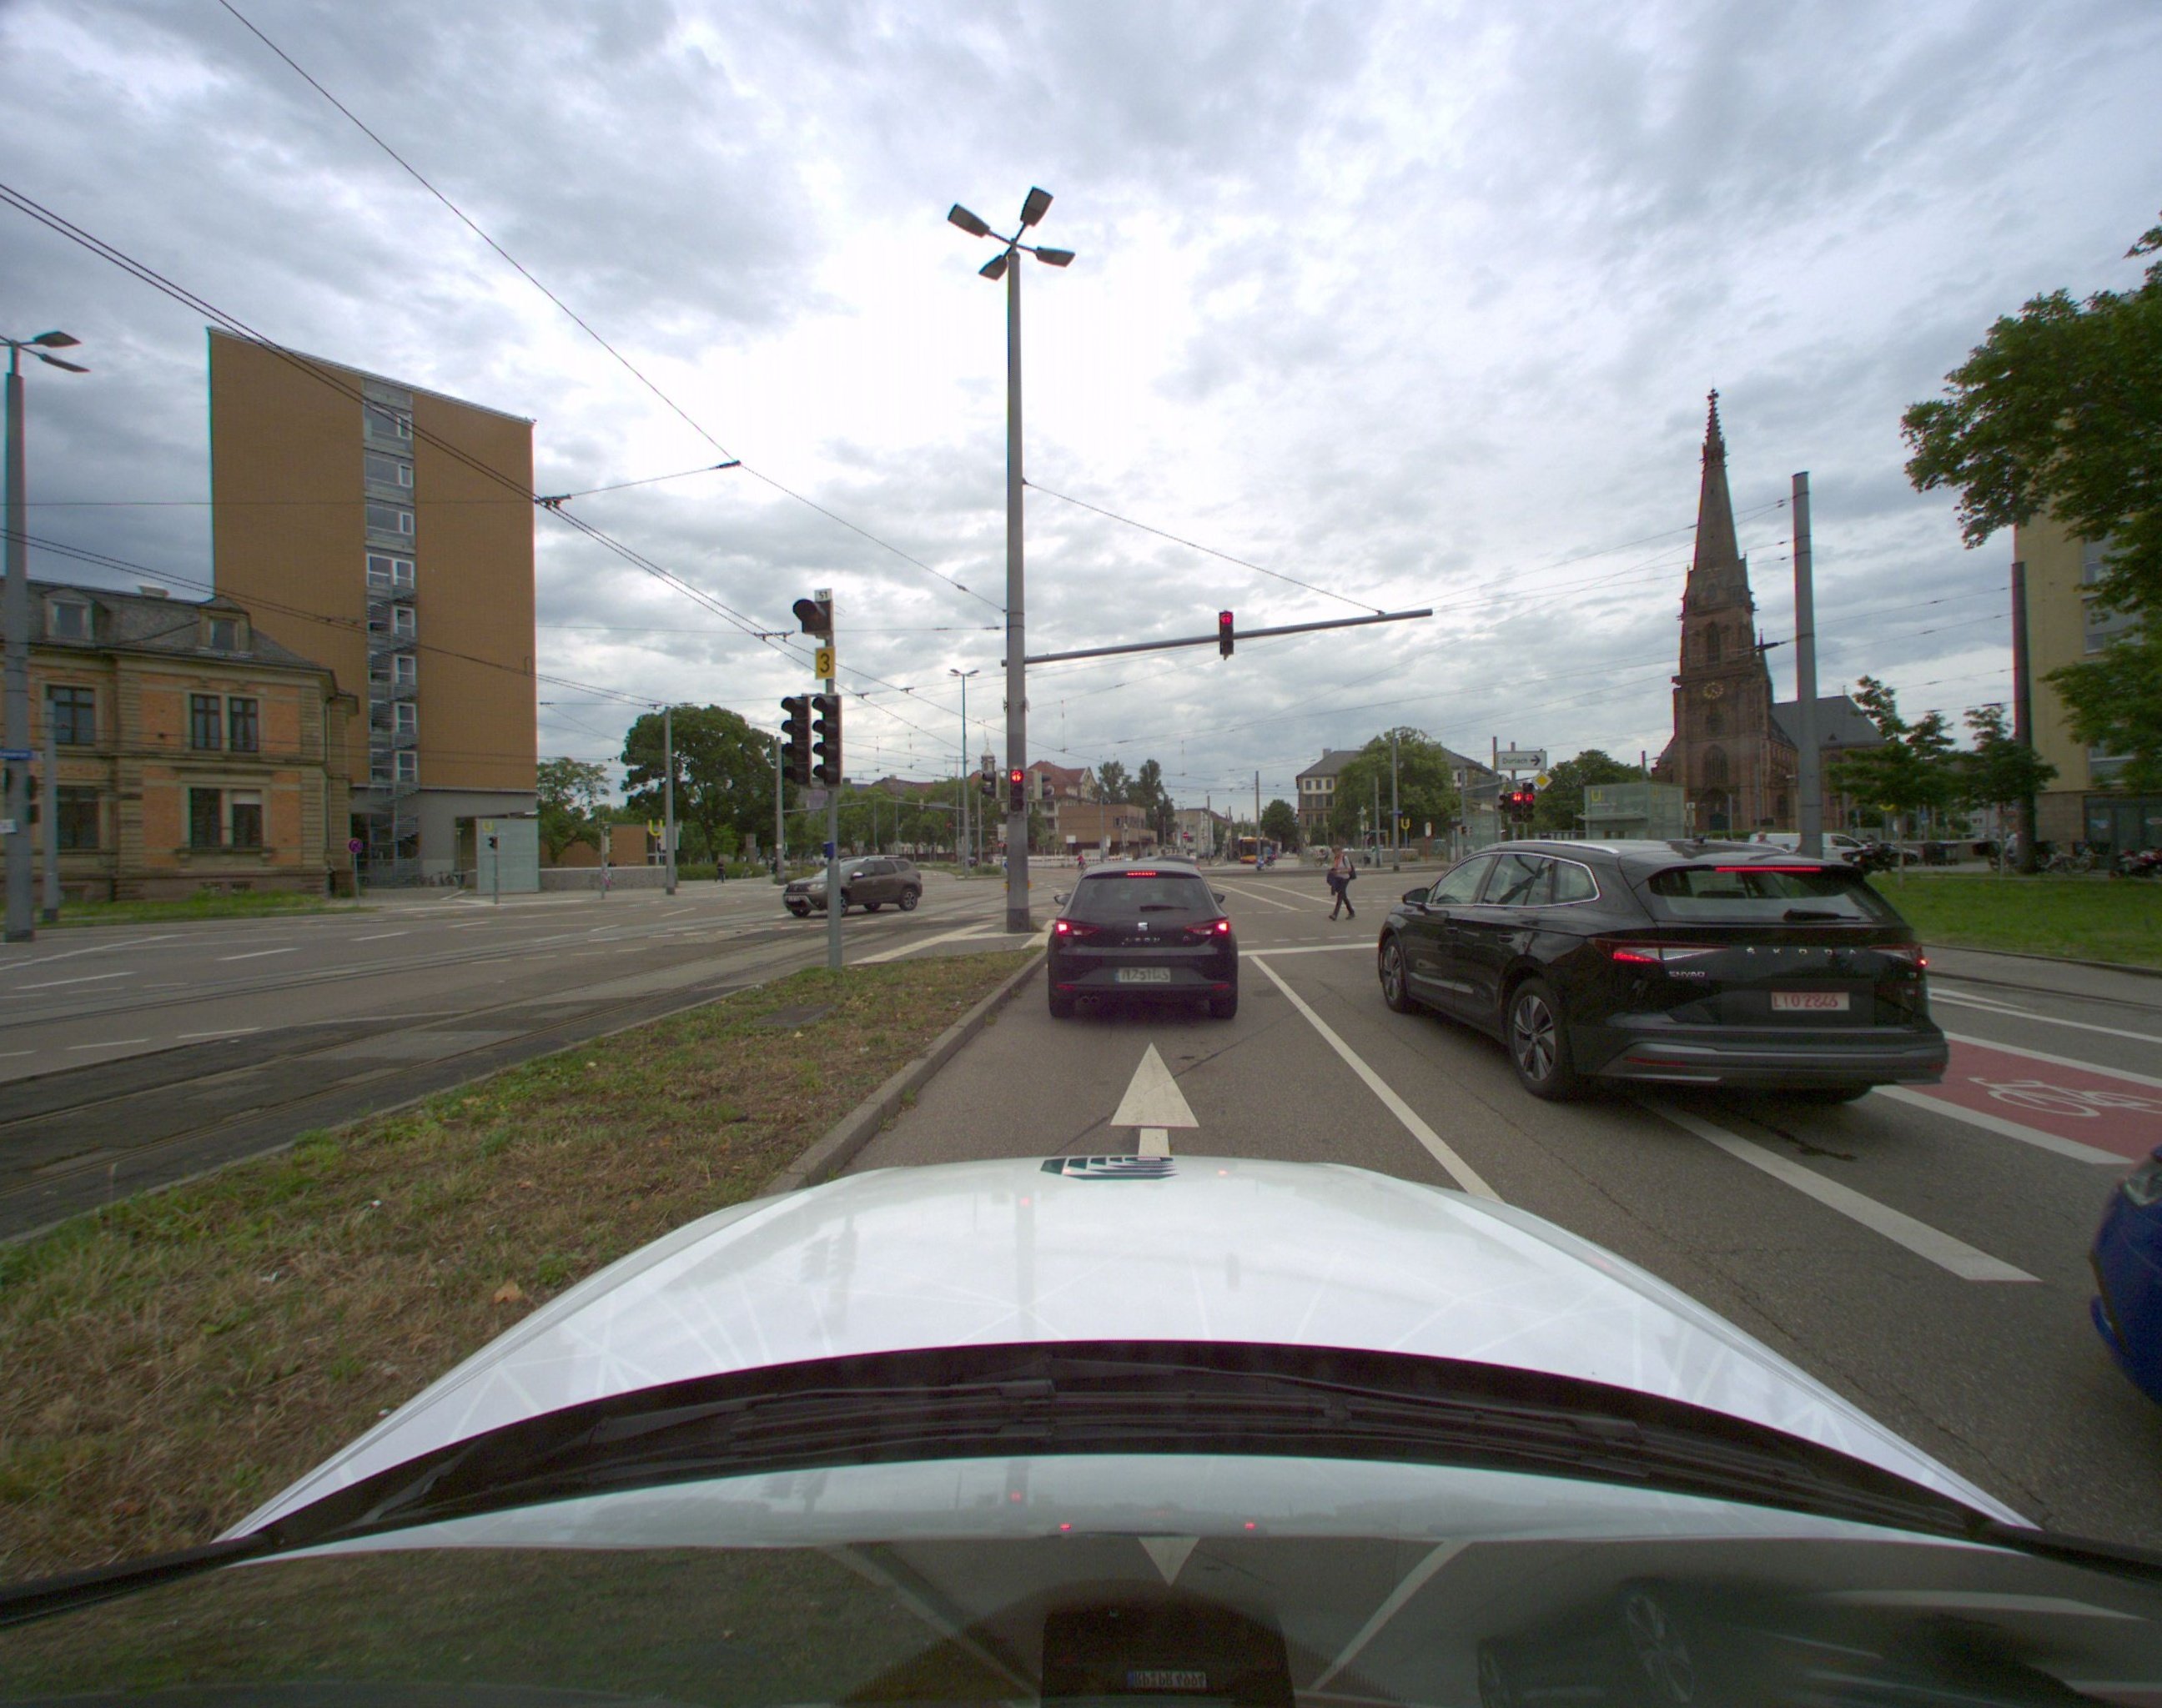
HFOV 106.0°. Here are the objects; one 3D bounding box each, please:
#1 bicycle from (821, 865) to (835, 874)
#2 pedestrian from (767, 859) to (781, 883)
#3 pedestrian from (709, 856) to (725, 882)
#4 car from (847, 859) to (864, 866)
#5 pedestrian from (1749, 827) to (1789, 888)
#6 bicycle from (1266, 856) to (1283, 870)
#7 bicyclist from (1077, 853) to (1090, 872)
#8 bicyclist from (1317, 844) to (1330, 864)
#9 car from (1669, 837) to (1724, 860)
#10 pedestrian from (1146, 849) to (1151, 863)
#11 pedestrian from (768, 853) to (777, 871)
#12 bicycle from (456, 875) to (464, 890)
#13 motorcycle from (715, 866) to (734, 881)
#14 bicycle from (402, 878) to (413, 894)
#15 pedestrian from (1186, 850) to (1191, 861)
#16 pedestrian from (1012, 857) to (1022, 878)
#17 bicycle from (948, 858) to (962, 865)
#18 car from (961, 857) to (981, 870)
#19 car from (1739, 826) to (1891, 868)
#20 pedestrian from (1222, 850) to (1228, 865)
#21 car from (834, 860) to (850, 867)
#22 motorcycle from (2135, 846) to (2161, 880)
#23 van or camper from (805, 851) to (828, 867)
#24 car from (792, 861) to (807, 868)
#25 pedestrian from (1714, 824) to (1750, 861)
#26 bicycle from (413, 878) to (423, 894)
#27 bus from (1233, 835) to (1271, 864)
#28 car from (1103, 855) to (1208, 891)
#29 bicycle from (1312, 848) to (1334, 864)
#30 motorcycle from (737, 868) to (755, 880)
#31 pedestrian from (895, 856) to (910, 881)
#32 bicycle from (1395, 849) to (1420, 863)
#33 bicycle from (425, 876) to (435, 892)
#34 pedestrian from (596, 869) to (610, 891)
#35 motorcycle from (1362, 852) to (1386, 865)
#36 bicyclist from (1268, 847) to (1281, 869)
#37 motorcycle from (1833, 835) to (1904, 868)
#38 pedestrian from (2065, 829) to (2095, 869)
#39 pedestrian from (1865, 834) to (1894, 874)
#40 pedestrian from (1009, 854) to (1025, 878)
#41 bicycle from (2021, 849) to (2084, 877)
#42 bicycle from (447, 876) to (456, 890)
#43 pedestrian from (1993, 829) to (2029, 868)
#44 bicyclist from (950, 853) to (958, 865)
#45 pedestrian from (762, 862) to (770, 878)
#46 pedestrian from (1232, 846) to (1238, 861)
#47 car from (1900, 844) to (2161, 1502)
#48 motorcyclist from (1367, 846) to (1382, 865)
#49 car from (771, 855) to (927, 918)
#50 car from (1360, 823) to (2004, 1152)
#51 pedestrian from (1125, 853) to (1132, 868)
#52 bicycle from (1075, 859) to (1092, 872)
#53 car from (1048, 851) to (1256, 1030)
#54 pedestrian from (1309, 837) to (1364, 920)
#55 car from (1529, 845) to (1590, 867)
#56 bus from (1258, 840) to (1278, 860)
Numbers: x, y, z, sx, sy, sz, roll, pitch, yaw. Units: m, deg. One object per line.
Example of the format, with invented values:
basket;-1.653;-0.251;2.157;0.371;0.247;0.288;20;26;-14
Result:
bicycle;-35.666;2.207;114.658;1.838;1.236;0.429;0;-2;-43
pedestrian;-25.717;1.428;68.232;0.930;2.014;1.006;-1;-2;-16
pedestrian;-28.379;1.138;63.537;1.022;2.013;0.842;-1;0;-15
car;-44.716;1.682;161.571;1.791;1.464;3.952;-1;0;-42
pedestrian;22.576;0.113;26.732;1.023;1.930;0.878;-1;0;-44
bicycle;16.552;0.760;69.713;0.863;1.104;2.301;-1;0;0
bicyclist;0.224;0.774;73.407;0.885;1.732;0.889;-1;0;-17
bicyclist;21.109;0.005;70.921;0.854;1.673;0.652;-1;0;-11
car;49.070;-0.459;64.939;4.009;1.775;1.884;-1;-2;-27
pedestrian;9.246;0.273;110.937;0.618;1.918;0.712;-1;0;7
pedestrian;-34.444;0.923;91.055;0.798;1.981;0.872;0;-2;-31
bicycle;-47.127;2.158;61.819;0.484;1.049;1.412;-1;0;-38
motorcycle;-32.231;1.744;73.732;1.480;1.268;0.505;-1;0;-42
bicycle;-49.462;2.348;59.798;0.575;1.106;1.412;-1;0;-38
pedestrian;19.483;0.279;147.256;0.615;1.918;0.715;-2;-2;30
pedestrian;-4.785;0.969;60.610;0.727;1.542;0.416;-1;0;-8
bicycle;-21.757;1.340;140.642;0.930;1.179;2.747;-1;0;33
car;-14.593;1.295;108.153;1.998;1.684;3.976;-1;-1;-17
car;39.191;-0.311;43.697;5.669;2.014;2.038;-2;-2;22
pedestrian;18.720;0.428;105.963;0.617;1.918;0.701;-1;0;14
car;-48.940;1.902;166.750;1.791;1.464;3.952;-1;0;-42
motorcycle;33.019;0.270;24.936;1.019;0.997;0.864;-1;0;-35
van or camper;-55.557;1.087;171.287;2.409;3.124;5.435;-1;0;-44
car;-61.214;2.252;177.129;1.791;1.464;3.952;-1;0;-42
pedestrian;32.937;-0.584;41.183;0.949;1.797;1.077;0;-2;-28
bicycle;-48.999;2.352;60.184;0.575;1.106;1.412;-1;0;-38
bus;20.100;-0.474;95.215;2.936;3.123;11.594;-1;0;19
car;3.213;0.778;34.702;4.410;1.396;1.681;-1;0;-34
bicycle;21.078;0.201;70.911;1.731;1.321;0.643;-1;0;-12
motorcycle;-31.126;1.832;75.593;0.506;1.111;1.752;-1;0;17
pedestrian;-13.842;1.119;63.037;1.031;1.934;0.696;-1;0;-21
bicycle;33.282;0.242;83.088;2.247;1.331;0.709;-2;-2;11
bicycle;-48.495;2.214;60.640;0.575;1.106;1.412;-1;0;-38
pedestrian;-28.507;1.541;48.568;0.492;1.336;0.577;-1;-1;44
motorcycle;25.588;0.387;71.038;2.147;1.139;0.737;-1;0;-29
bicyclist;16.537;0.372;69.634;0.869;1.851;1.047;-1;0;-1
motorcycle;28.324;-0.096;29.294;2.384;1.168;0.763;-1;0;-17
pedestrian;41.005;-0.206;33.430;0.874;1.638;0.631;-1;0;-30
pedestrian;33.233;0.003;33.899;0.874;1.638;0.631;-1;0;-29
pedestrian;-5.103;0.946;65.362;0.692;1.934;1.037;-2;0;43
bicycle;32.804;0.287;27.521;0.596;0.917;1.254;-1;0;-26
bicycle;-47.543;2.180;61.484;0.484;1.049;1.412;-1;0;-38
pedestrian;39.733;-0.218;34.815;0.778;1.638;0.640;-1;0;18
bicyclist;-21.857;0.924;140.615;0.928;2.013;0.984;-1;0;33
pedestrian;-41.826;2.134;108.207;0.879;1.981;0.792;-1;-2;-14
pedestrian;20.112;-0.085;106.275;0.617;1.918;0.701;-1;0;14
car;3.193;0.698;0.164;1.771;1.488;4.471;-1;0;4
motorcyclist;25.641;0.112;71.054;0.983;1.649;0.743;-1;-1;-29
car;-6.656;0.880;23.808;1.780;1.640;4.257;-1;0;33
car;3.707;0.656;6.248;1.770;1.597;4.512;-1;0;3
pedestrian;5.836;0.810;100.078;0.703;1.918;0.625;-1;0;11
bicycle;0.238;1.012;73.417;0.894;1.178;2.288;-1;0;-17
car;0.599;0.715;8.630;1.699;1.449;3.812;-1;0;0
pedestrian;6.075;0.560;19.330;1.110;1.907;0.727;0;-1;-38
car;32.985;0.143;56.141;4.009;1.464;1.759;-1;-2;-27
bus;31.654;-0.632;137.806;2.634;3.283;11.040;-1;0;16
